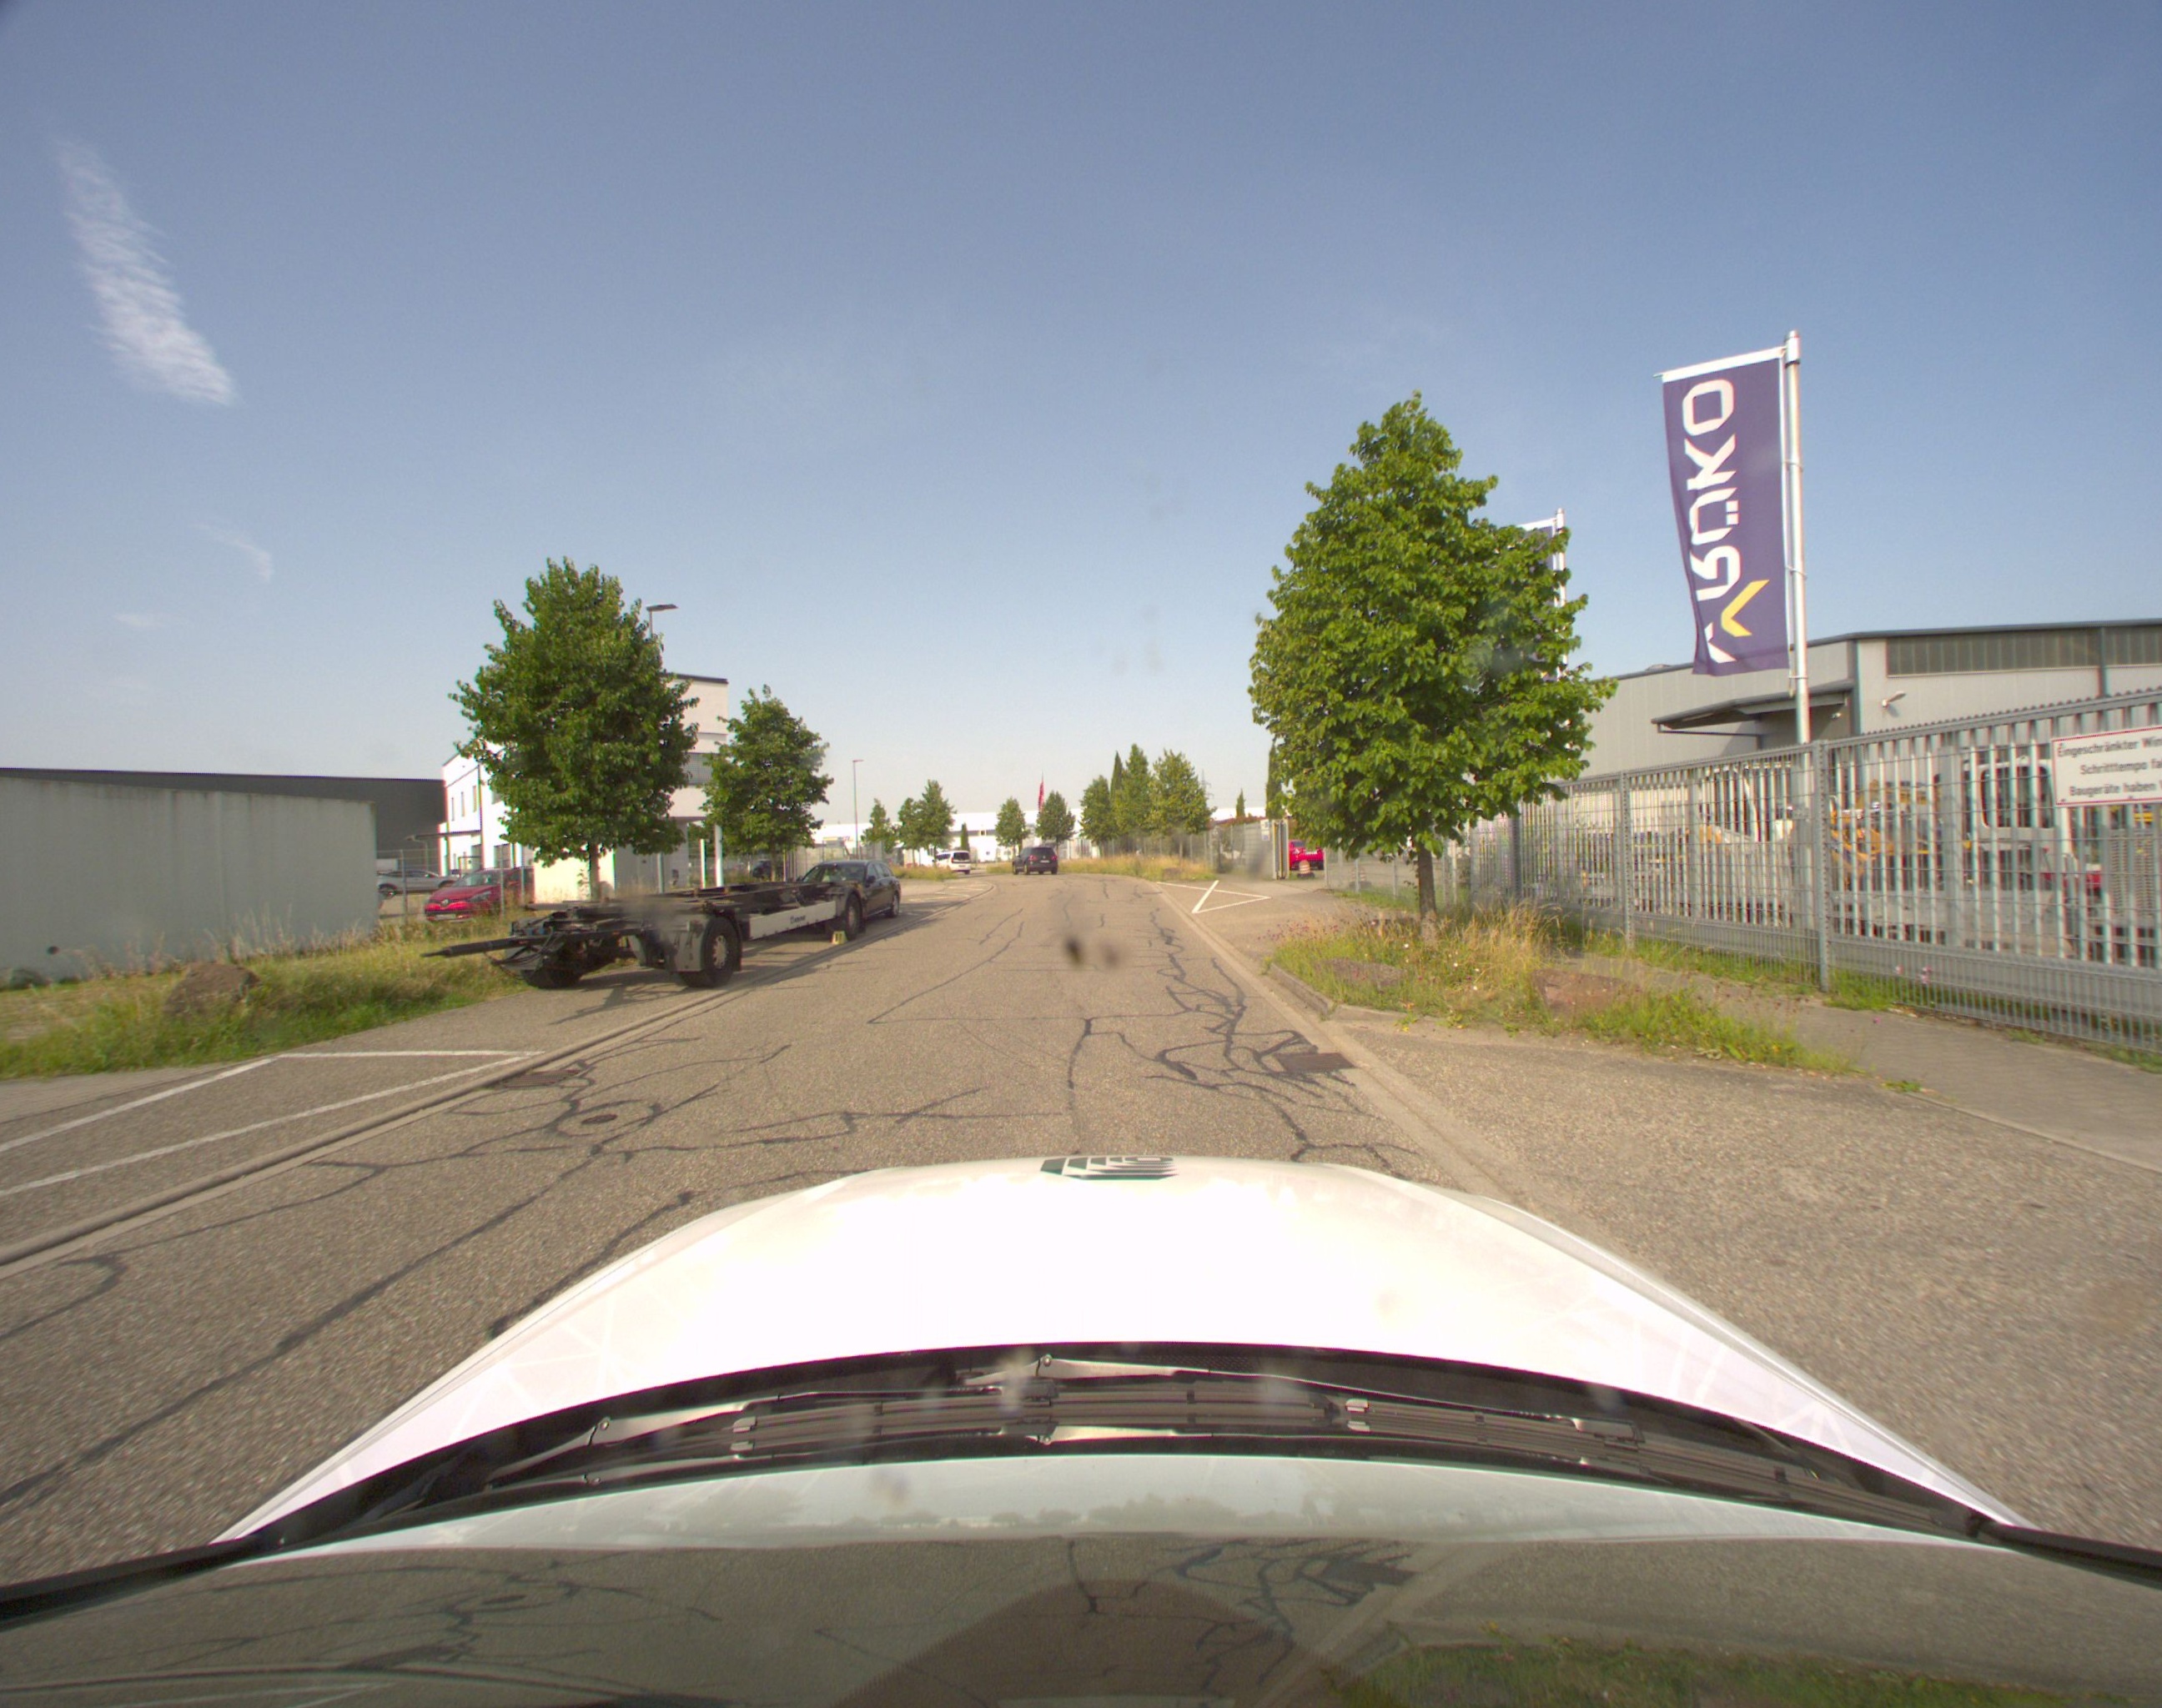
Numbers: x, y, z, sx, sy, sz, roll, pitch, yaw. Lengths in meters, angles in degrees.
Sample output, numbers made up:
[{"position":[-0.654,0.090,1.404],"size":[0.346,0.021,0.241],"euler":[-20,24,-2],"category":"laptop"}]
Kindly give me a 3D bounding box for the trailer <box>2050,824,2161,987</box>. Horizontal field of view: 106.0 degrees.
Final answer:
[{"position":[9.595,0.366,4.992],"size":[1.985,1.311,4.567],"euler":[-2,-1,3],"category":"trailer"}]

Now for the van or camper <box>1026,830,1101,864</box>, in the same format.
[{"position":[-1.770,-0.709,81.094],"size":[7.246,3.032,2.581],"euler":[-2,0,-5],"category":"van or camper"}]

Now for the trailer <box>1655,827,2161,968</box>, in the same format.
[{"position":[9.404,0.396,9.831],"size":[1.937,1.244,4.294],"euler":[-2,0,0],"category":"trailer"}]

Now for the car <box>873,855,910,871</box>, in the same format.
[{"position":[-20.881,0.975,89.817],"size":[2.149,1.476,4.018],"euler":[-2,0,17],"category":"car"}]

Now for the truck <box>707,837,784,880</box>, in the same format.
[{"position":[-33.017,0.540,79.727],"size":[2.649,3.929,12.761],"euler":[-1,-1,-43],"category":"truck"}]

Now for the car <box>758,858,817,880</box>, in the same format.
[{"position":[-20.649,1.033,57.392],"size":[1.577,1.454,3.525],"euler":[-2,-1,44],"category":"car"}]

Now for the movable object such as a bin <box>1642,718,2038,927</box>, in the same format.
[{"position":[12.055,-0.446,13.613],"size":[1.879,2.752,5.163],"euler":[-2,0,2],"category":"movable object such as a bin"}]

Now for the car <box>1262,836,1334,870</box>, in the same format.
[{"position":[9.795,-0.047,37.195],"size":[1.875,1.358,4.770],"euler":[-2,0,-2],"category":"car"}]

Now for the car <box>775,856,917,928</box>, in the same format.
[{"position":[-5.552,0.842,19.906],"size":[1.986,1.466,4.435],"euler":[-1,1,2],"category":"car"}]

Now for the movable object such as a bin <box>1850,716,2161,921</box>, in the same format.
[{"position":[14.154,-0.477,11.681],"size":[1.983,2.458,4.771],"euler":[-2,0,6],"category":"movable object such as a bin"}]

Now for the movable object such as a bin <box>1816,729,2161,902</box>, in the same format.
[{"position":[16.887,-0.629,14.468],"size":[2.911,2.491,5.342],"euler":[-2,0,2],"category":"movable object such as a bin"}]

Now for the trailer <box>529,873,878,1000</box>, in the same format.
[{"position":[-5.379,1.062,13.251],"size":[2.122,1.232,7.161],"euler":[-1,1,2],"category":"trailer"}]

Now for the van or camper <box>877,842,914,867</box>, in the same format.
[{"position":[-23.818,0.017,104.865],"size":[2.650,3.084,6.802],"euler":[-2,1,4],"category":"van or camper"}]

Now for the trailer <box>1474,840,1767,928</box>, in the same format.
[{"position":[9.290,0.434,14.668],"size":[2.119,1.243,4.796],"euler":[-2,0,0],"category":"trailer"}]

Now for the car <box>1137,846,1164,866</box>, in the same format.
[{"position":[5.766,0.159,68.141],"size":[1.719,1.643,3.995],"euler":[-1,0,-4],"category":"car"}]

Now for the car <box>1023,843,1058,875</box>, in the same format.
[{"position":[-2.399,0.276,48.706],"size":[1.989,1.804,3.996],"euler":[-1,0,-3],"category":"car"}]

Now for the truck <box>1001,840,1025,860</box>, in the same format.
[{"position":[-9.931,-0.587,119.651],"size":[2.440,2.826,8.008],"euler":[-2,0,3],"category":"truck"}]

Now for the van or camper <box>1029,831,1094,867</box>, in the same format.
[{"position":[-1.762,-0.339,69.604],"size":[2.363,2.848,7.272],"euler":[-2,0,-29],"category":"van or camper"}]

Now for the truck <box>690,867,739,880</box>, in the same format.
[{"position":[-38.614,2.042,85.688],"size":[2.547,1.265,6.446],"euler":[-3,1,-44],"category":"truck"}]

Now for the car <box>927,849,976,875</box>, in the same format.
[{"position":[-10.280,0.644,64.313],"size":[2.009,1.899,4.418],"euler":[-2,0,-36],"category":"car"}]

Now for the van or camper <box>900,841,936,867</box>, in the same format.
[{"position":[-20.695,-0.004,103.916],"size":[2.788,3.084,7.972],"euler":[-2,1,1],"category":"van or camper"}]

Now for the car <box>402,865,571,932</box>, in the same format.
[{"position":[-16.720,1.182,23.232],"size":[1.766,1.525,4.299],"euler":[-2,1,-3],"category":"car"}]

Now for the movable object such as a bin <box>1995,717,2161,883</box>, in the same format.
[{"position":[20.843,-1.032,15.453],"size":[1.985,3.031,4.495],"euler":[-2,0,2],"category":"movable object such as a bin"}]

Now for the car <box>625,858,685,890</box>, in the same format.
[{"position":[-20.893,0.974,39.889],"size":[1.572,1.415,3.873],"euler":[-2,0,-43],"category":"car"}]

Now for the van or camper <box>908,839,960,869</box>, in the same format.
[{"position":[-15.080,0.048,83.016],"size":[2.349,2.943,6.894],"euler":[-2,0,-36],"category":"van or camper"}]

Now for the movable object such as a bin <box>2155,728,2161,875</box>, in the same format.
[{"position":[23.125,-1.100,14.593],"size":[1.985,3.031,4.376],"euler":[-2,0,2],"category":"movable object such as a bin"}]

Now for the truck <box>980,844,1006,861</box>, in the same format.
[{"position":[-12.894,-0.271,119.763],"size":[2.440,2.265,8.008],"euler":[-2,0,3],"category":"truck"}]
